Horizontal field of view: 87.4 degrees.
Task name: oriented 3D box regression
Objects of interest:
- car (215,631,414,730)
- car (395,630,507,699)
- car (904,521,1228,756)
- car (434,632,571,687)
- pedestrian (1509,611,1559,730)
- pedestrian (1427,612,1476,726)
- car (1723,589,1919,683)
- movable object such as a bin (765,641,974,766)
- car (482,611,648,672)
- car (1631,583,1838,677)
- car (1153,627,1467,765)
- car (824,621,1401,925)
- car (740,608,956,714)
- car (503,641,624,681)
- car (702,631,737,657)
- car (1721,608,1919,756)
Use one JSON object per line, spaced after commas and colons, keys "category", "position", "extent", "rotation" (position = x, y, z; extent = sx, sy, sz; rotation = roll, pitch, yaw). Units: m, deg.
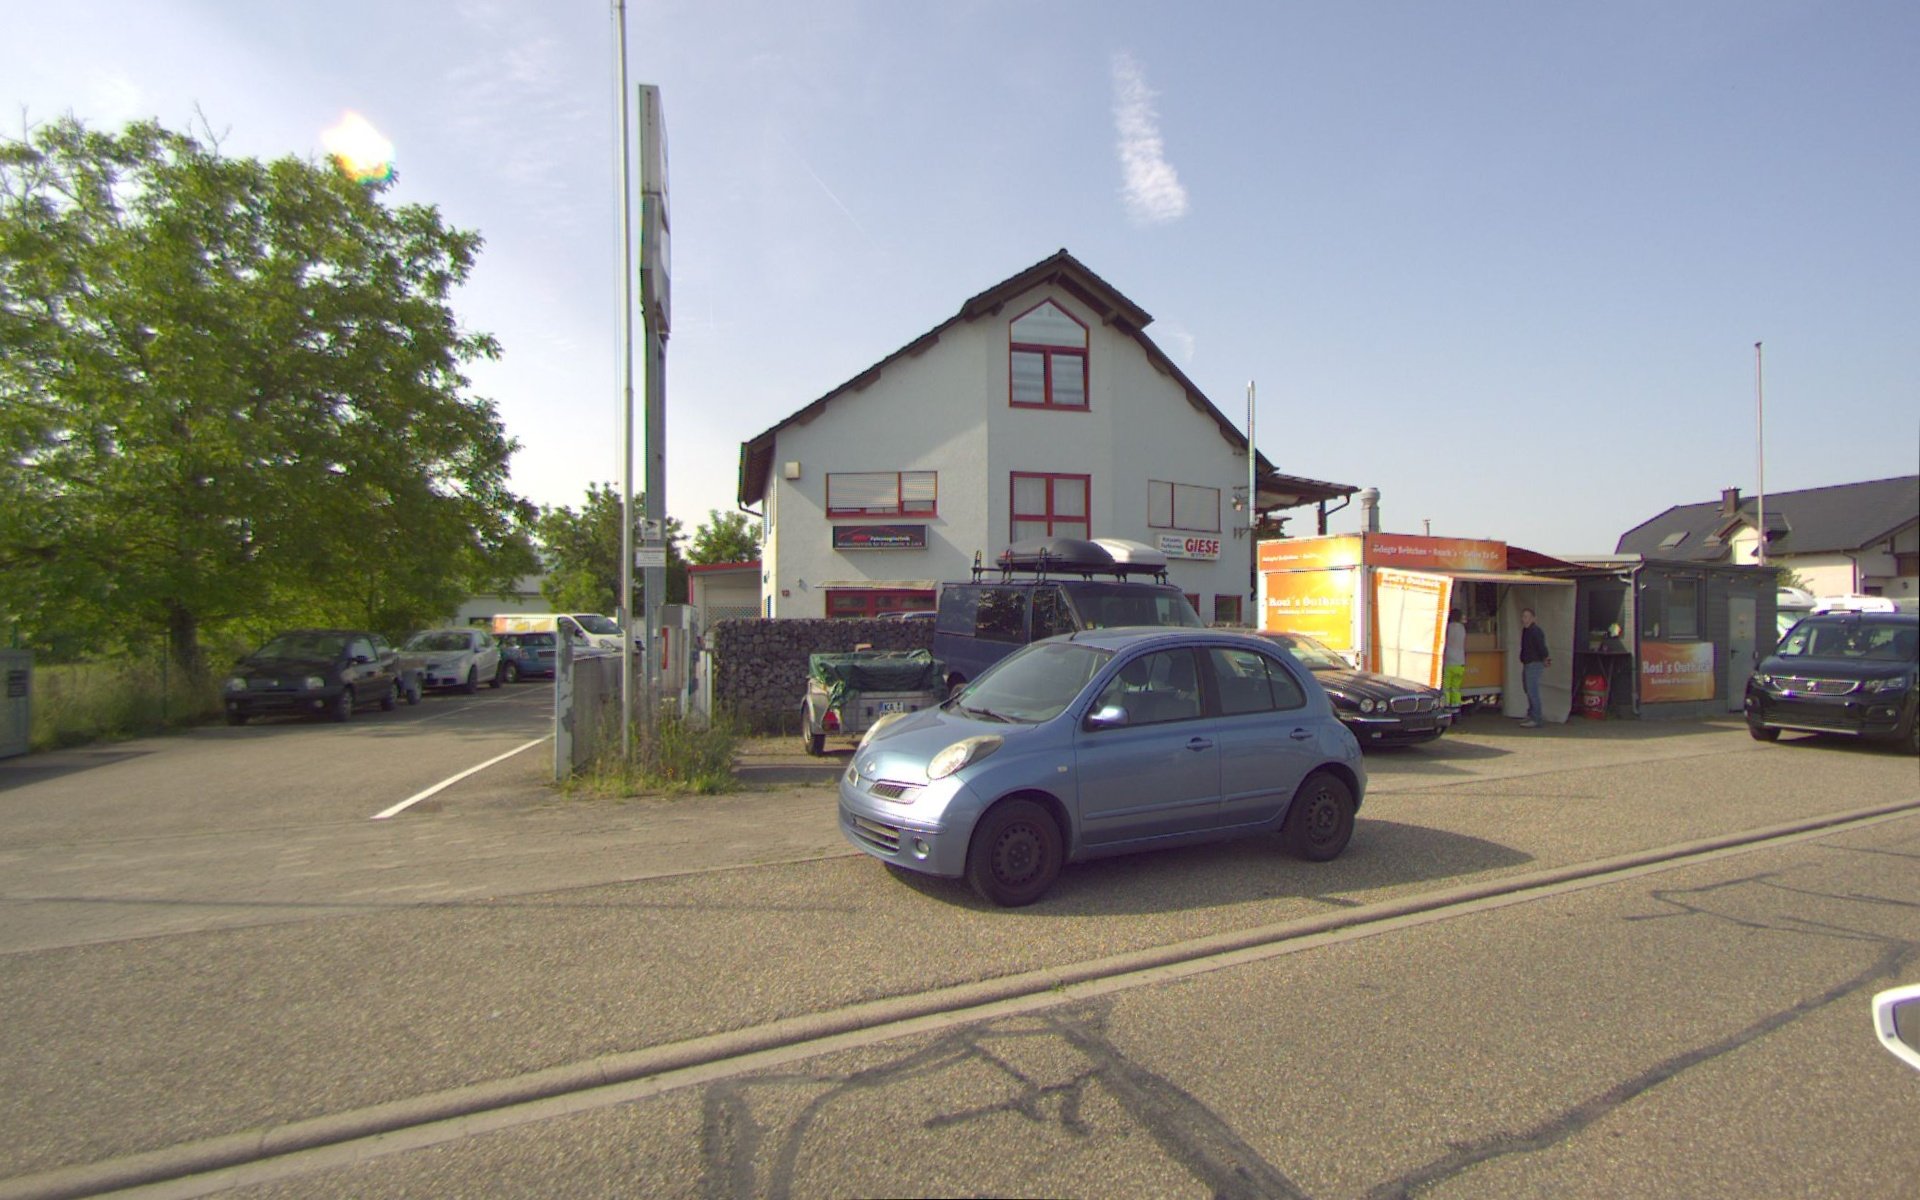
{"category": "car", "position": [-10.258, 1.212, 16.231], "extent": [1.632, 1.408, 3.228], "rotation": [0, -1, -12]}
{"category": "car", "position": [-11.681, 1.426, 23.239], "extent": [1.424, 1.451, 3.486], "rotation": [0, -1, -12]}
{"category": "car", "position": [1.100, 0.508, 12.966], "extent": [1.974, 2.448, 4.611], "rotation": [1, -3, -27]}
{"category": "car", "position": [-12.394, 1.582, 27.225], "extent": [3.244, 1.401, 1.437], "rotation": [1, -2, -31]}
{"category": "pedestrian", "position": [8.552, 1.037, 14.988], "extent": [0.553, 1.737, 0.534], "rotation": [-1, -2, 23]}
{"category": "pedestrian", "position": [7.508, 1.051, 15.360], "extent": [0.533, 1.710, 0.407], "rotation": [1, -2, -26]}
{"category": "car", "position": [26.922, 1.130, 30.873], "extent": [2.530, 2.619, 5.167], "rotation": [0, -3, -9]}
{"category": "movable object such as a bin", "position": [-1.231, 1.146, 12.249], "extent": [1.735, 1.162, 3.318], "rotation": [1, 0, -21]}
{"category": "car", "position": [-13.193, 1.397, 33.559], "extent": [5.175, 1.940, 1.844], "rotation": [-1, -2, 18]}
{"category": "car", "position": [23.312, 0.956, 30.531], "extent": [2.106, 2.619, 4.813], "rotation": [0, -3, -9]}
{"category": "car", "position": [4.417, 1.123, 13.130], "extent": [1.743, 1.433, 3.567], "rotation": [1, -1, -33]}
{"category": "car", "position": [1.053, 0.944, 6.743], "extent": [3.559, 1.537, 1.627], "rotation": [1, 0, -28]}
{"category": "car", "position": [-1.933, 1.030, 17.521], "extent": [3.432, 1.683, 1.539], "rotation": [1, -2, -29]}
{"category": "car", "position": [-11.966, 1.838, 30.319], "extent": [3.216, 1.157, 1.450], "rotation": [-1, -3, 18]}
{"category": "car", "position": [-13.131, 2.395, 54.954], "extent": [1.795, 1.359, 3.723], "rotation": [0, -2, -12]}
{"category": "car", "position": [12.775, 1.057, 14.193], "extent": [4.154, 1.798, 1.791], "rotation": [1, 0, -31]}
